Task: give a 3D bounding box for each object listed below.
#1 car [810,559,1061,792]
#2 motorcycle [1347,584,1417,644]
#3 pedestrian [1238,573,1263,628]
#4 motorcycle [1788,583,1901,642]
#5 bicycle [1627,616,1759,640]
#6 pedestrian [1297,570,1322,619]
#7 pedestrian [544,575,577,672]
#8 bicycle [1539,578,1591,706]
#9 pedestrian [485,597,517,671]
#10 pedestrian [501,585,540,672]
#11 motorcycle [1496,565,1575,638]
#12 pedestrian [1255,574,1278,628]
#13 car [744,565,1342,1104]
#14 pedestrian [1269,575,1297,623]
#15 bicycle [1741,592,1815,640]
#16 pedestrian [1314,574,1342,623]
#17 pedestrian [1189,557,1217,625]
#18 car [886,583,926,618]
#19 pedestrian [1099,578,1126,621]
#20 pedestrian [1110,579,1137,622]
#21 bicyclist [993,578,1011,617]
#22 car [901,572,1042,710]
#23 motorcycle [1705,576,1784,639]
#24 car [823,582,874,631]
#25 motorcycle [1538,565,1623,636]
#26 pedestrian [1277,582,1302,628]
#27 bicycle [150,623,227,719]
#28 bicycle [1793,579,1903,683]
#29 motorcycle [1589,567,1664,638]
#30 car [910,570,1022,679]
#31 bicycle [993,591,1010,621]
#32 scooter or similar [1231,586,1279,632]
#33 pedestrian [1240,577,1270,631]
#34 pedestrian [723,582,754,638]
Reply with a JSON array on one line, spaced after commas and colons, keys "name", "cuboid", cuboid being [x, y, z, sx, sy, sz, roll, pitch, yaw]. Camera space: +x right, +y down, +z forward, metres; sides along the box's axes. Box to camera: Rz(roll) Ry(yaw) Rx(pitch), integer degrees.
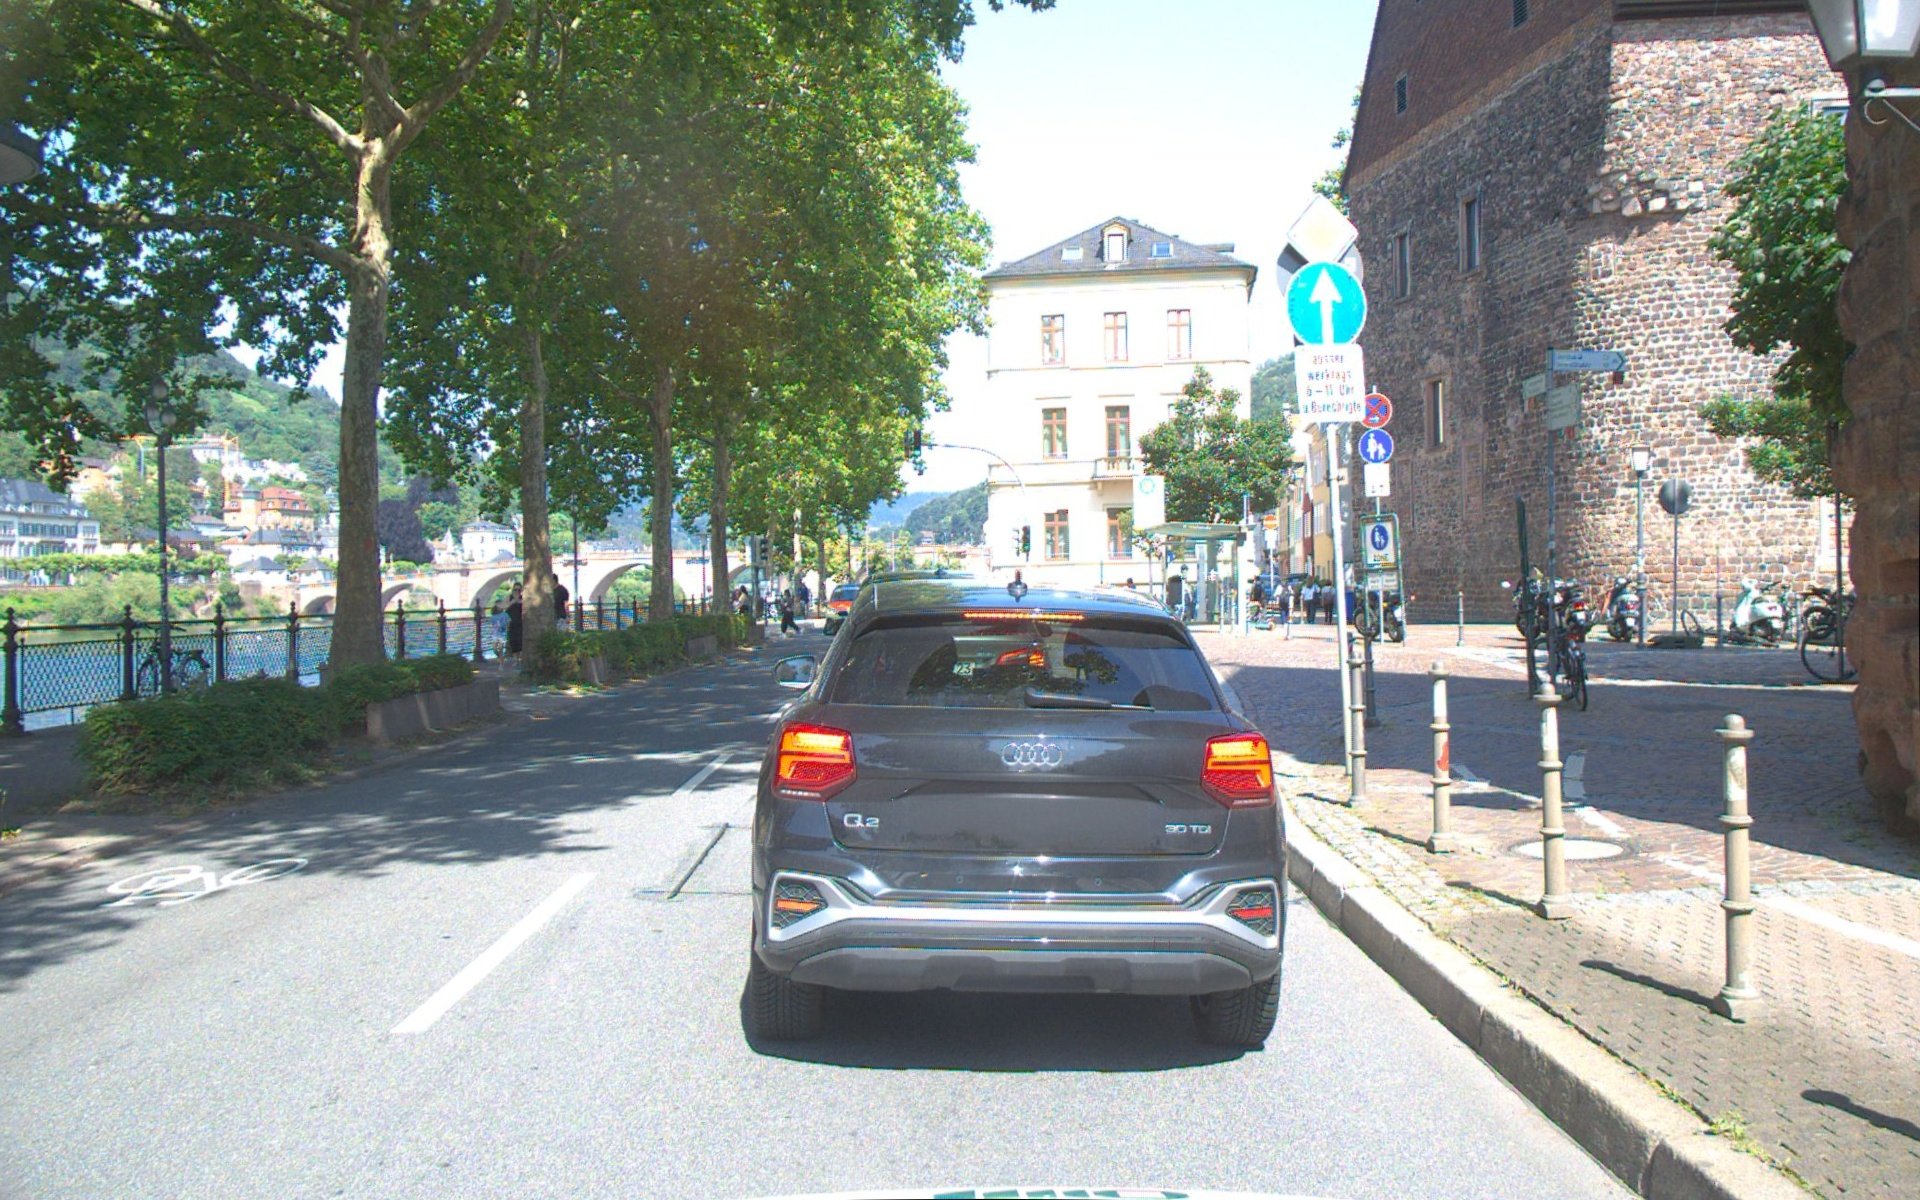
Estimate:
[{"name": "car", "cuboid": [-0.195, 0.523, 13.453, 1.756, 1.623, 3.398, 1, 0, -1]}, {"name": "motorcycle", "cuboid": [7.693, 0.232, 30.236, 0.555, 1.030, 2.489, -1, 1, -2]}, {"name": "pedestrian", "cuboid": [7.503, 0.008, 42.714, 0.546, 1.409, 0.588, 1, -1, 1]}, {"name": "motorcycle", "cuboid": [16.744, 0.239, 31.321, 1.826, 1.072, 0.480, 1, -1, 7]}, {"name": "bicycle", "cuboid": [12.257, 0.465, 27.716, 1.887, 0.388, 0.918, 0, -1, 14]}, {"name": "pedestrian", "cuboid": [11.948, -0.194, 56.552, 0.595, 1.647, 0.710, -3, 0, -1]}, {"name": "pedestrian", "cuboid": [-7.973, 0.467, 33.028, 0.523, 1.920, 0.436, 1, 0, -1]}, {"name": "bicycle", "cuboid": [6.156, 0.396, 16.861, 0.189, 1.225, 1.771, 0, 1, 10]}, {"name": "pedestrian", "cuboid": [-8.730, 0.643, 31.458, 0.469, 1.386, 0.417, 1, 0, 3]}, {"name": "pedestrian", "cuboid": [-8.792, 0.554, 33.108, 0.589, 1.715, 0.583, -1, 0, -2]}, {"name": "motorcycle", "cuboid": [10.497, 0.031, 30.221, 0.642, 1.288, 2.199, 0, 0, -1]}, {"name": "pedestrian", "cuboid": [13.770, 0.035, 74.242, 0.861, 2.399, 0.745, 1, -1, -1]}, {"name": "car", "cuboid": [0.218, 0.662, 6.615, 1.707, 1.535, 3.646, 1, 1, -1]}, {"name": "pedestrian", "cuboid": [10.231, -0.038, 52.371, 0.626, 1.469, 0.797, -2, 0, -7]}, {"name": "bicycle", "cuboid": [15.126, 0.289, 30.630, 0.346, 0.835, 1.926, 1, 1, -2]}, {"name": "pedestrian", "cuboid": [12.573, -0.062, 56.516, 0.677, 1.640, 0.891, -2, 0, -1]}, {"name": "pedestrian", "cuboid": [6.183, -0.230, 42.109, 0.640, 1.691, 0.810, -1, 0, 4]}, {"name": "car", "cuboid": [-2.939, 0.034, 90.483, 1.952, 1.838, 4.000, 1, 0, 1]}, {"name": "pedestrian", "cuboid": [4.508, 0.000, 48.946, 0.651, 1.253, 0.640, 1, -1, -7]}, {"name": "pedestrian", "cuboid": [4.764, 0.027, 48.255, 0.651, 1.233, 0.640, 1, -1, -7]}, {"name": "bicyclist", "cuboid": [1.581, -0.100, 62.545, 0.593, 1.475, 0.590, 1, -1, -6]}, {"name": "car", "cuboid": [0.114, 0.477, 21.500, 1.676, 1.637, 3.654, 0, 0, -1]}, {"name": "motorcycle", "cuboid": [14.017, 0.132, 29.600, 0.496, 1.092, 1.840, 1, 0, -1]}, {"name": "car", "cuboid": [-4.187, 0.235, 62.684, 1.639, 1.689, 4.222, -3, 0, -1]}, {"name": "motorcycle", "cuboid": [11.440, 0.014, 30.560, 0.661, 1.257, 2.312, 1, 0, -1]}, {"name": "pedestrian", "cuboid": [14.834, 0.211, 74.506, 0.925, 2.049, 0.807, 1, -1, -1]}, {"name": "bicycle", "cuboid": [-9.535, 0.863, 20.472, 0.352, 1.110, 1.295, 2, 0, -2]}, {"name": "bicycle", "cuboid": [10.609, 0.341, 19.810, 0.437, 1.182, 1.731, -1, 1, 3]}, {"name": "motorcycle", "cuboid": [12.303, 0.049, 30.585, 0.535, 1.257, 2.030, 1, 0, -1]}, {"name": "car", "cuboid": [0.065, 0.376, 28.257, 1.758, 1.711, 3.999, 1, 0, -1]}, {"name": "bicycle", "cuboid": [1.566, 0.242, 62.490, 0.428, 1.105, 1.675, 1, 0, -5]}, {"name": "scooter or similar", "cuboid": [7.037, 0.209, 39.467, 1.067, 1.084, 0.323, 1, -1, -3]}, {"name": "pedestrian", "cuboid": [11.297, 0.146, 63.302, 0.922, 2.049, 0.806, 1, -1, -7]}, {"name": "pedestrian", "cuboid": [-7.438, 0.338, 55.579, 0.891, 1.843, 0.586, 1, -1, 3]}]
